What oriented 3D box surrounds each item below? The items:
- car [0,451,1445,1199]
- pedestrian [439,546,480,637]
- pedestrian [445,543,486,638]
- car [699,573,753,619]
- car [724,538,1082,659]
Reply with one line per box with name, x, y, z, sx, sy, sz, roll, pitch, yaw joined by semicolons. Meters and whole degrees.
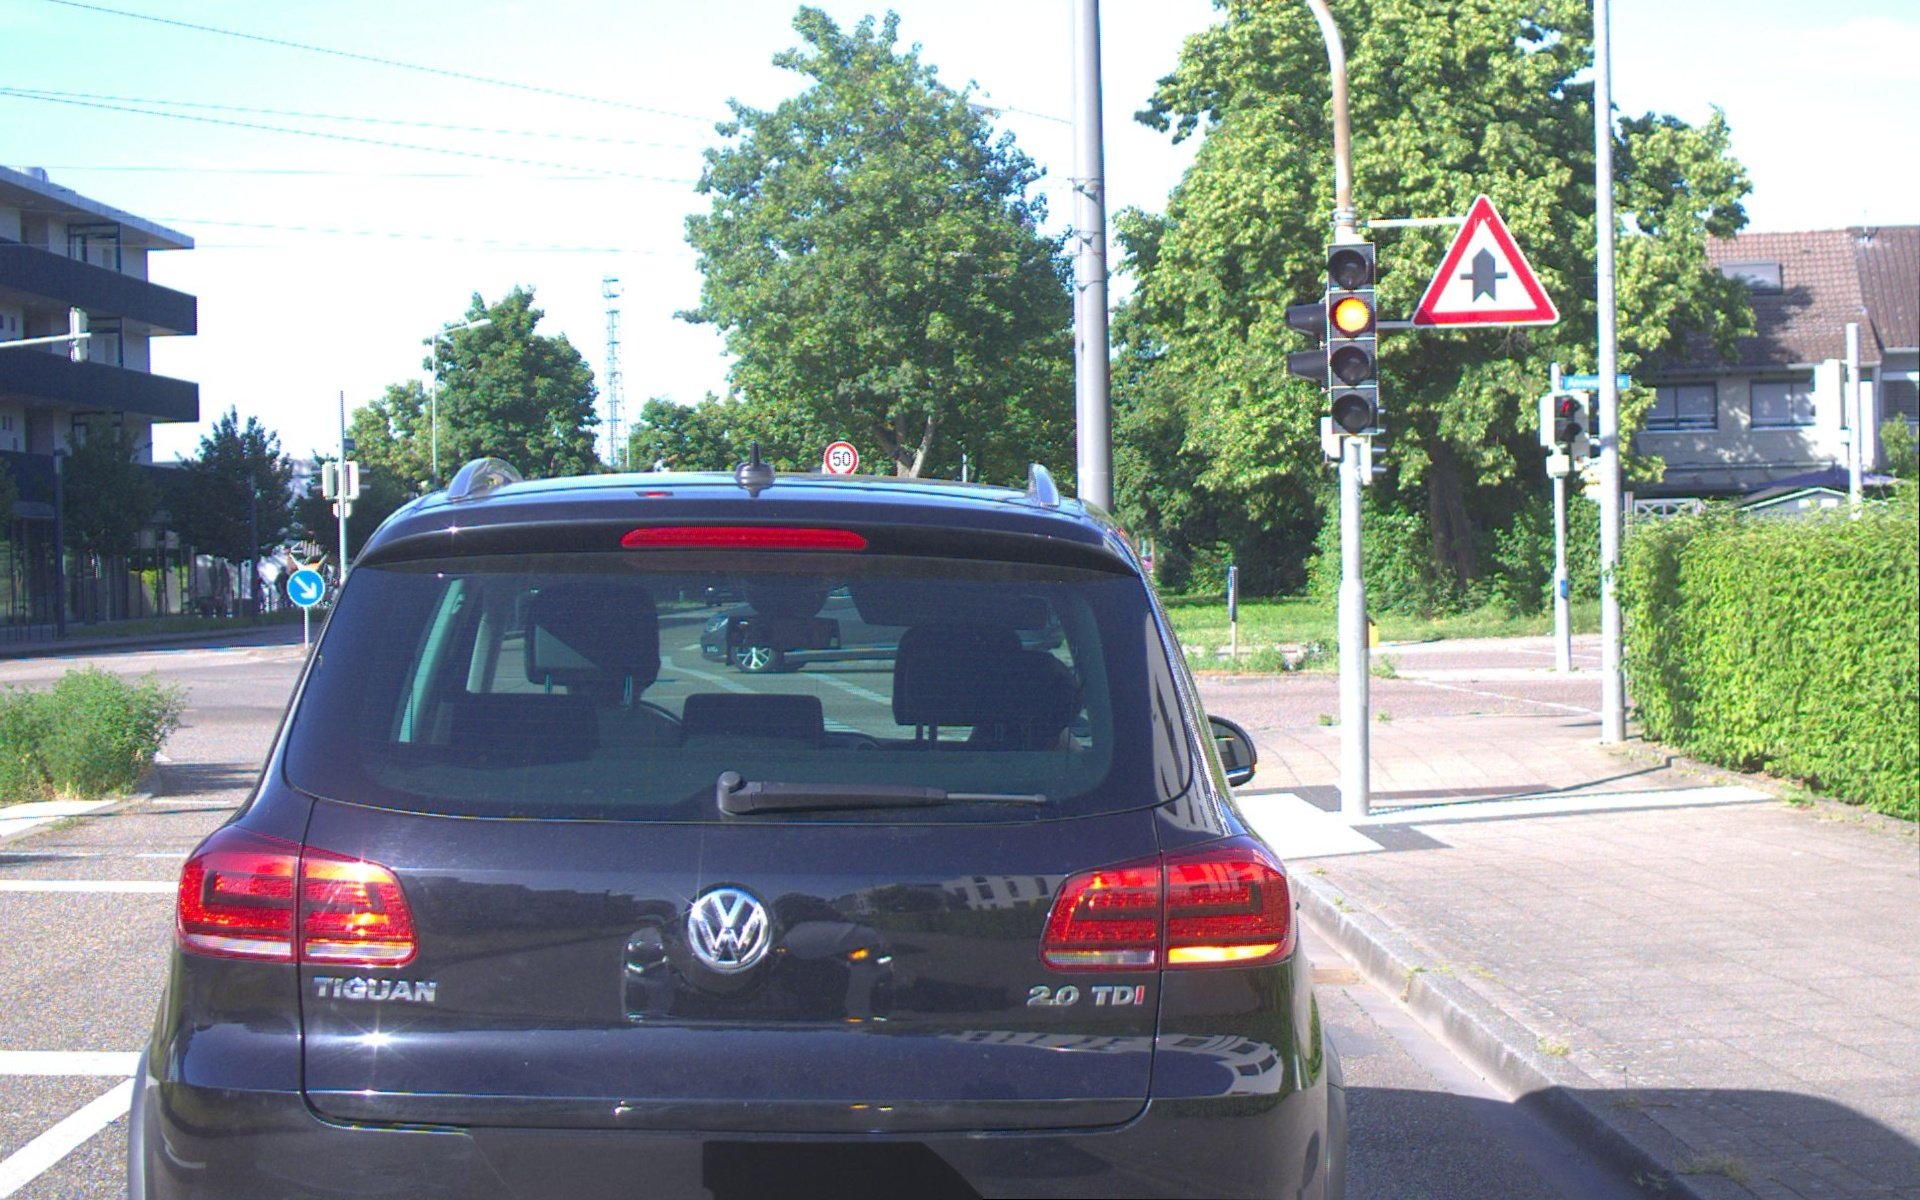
car;-0.389;0.595;6.472;1.905;1.637;4.000;0;1;-2
pedestrian;-8.640;-0.157;59.328;0.603;1.559;0.529;0;1;4
pedestrian;-8.612;-0.170;59.897;0.603;1.634;0.529;0;1;4
car;-8.774;-0.166;129.359;1.656;1.634;4.000;0;1;1
car;-0.696;-0.038;44.727;4.498;1.499;2.000;0;1;4
